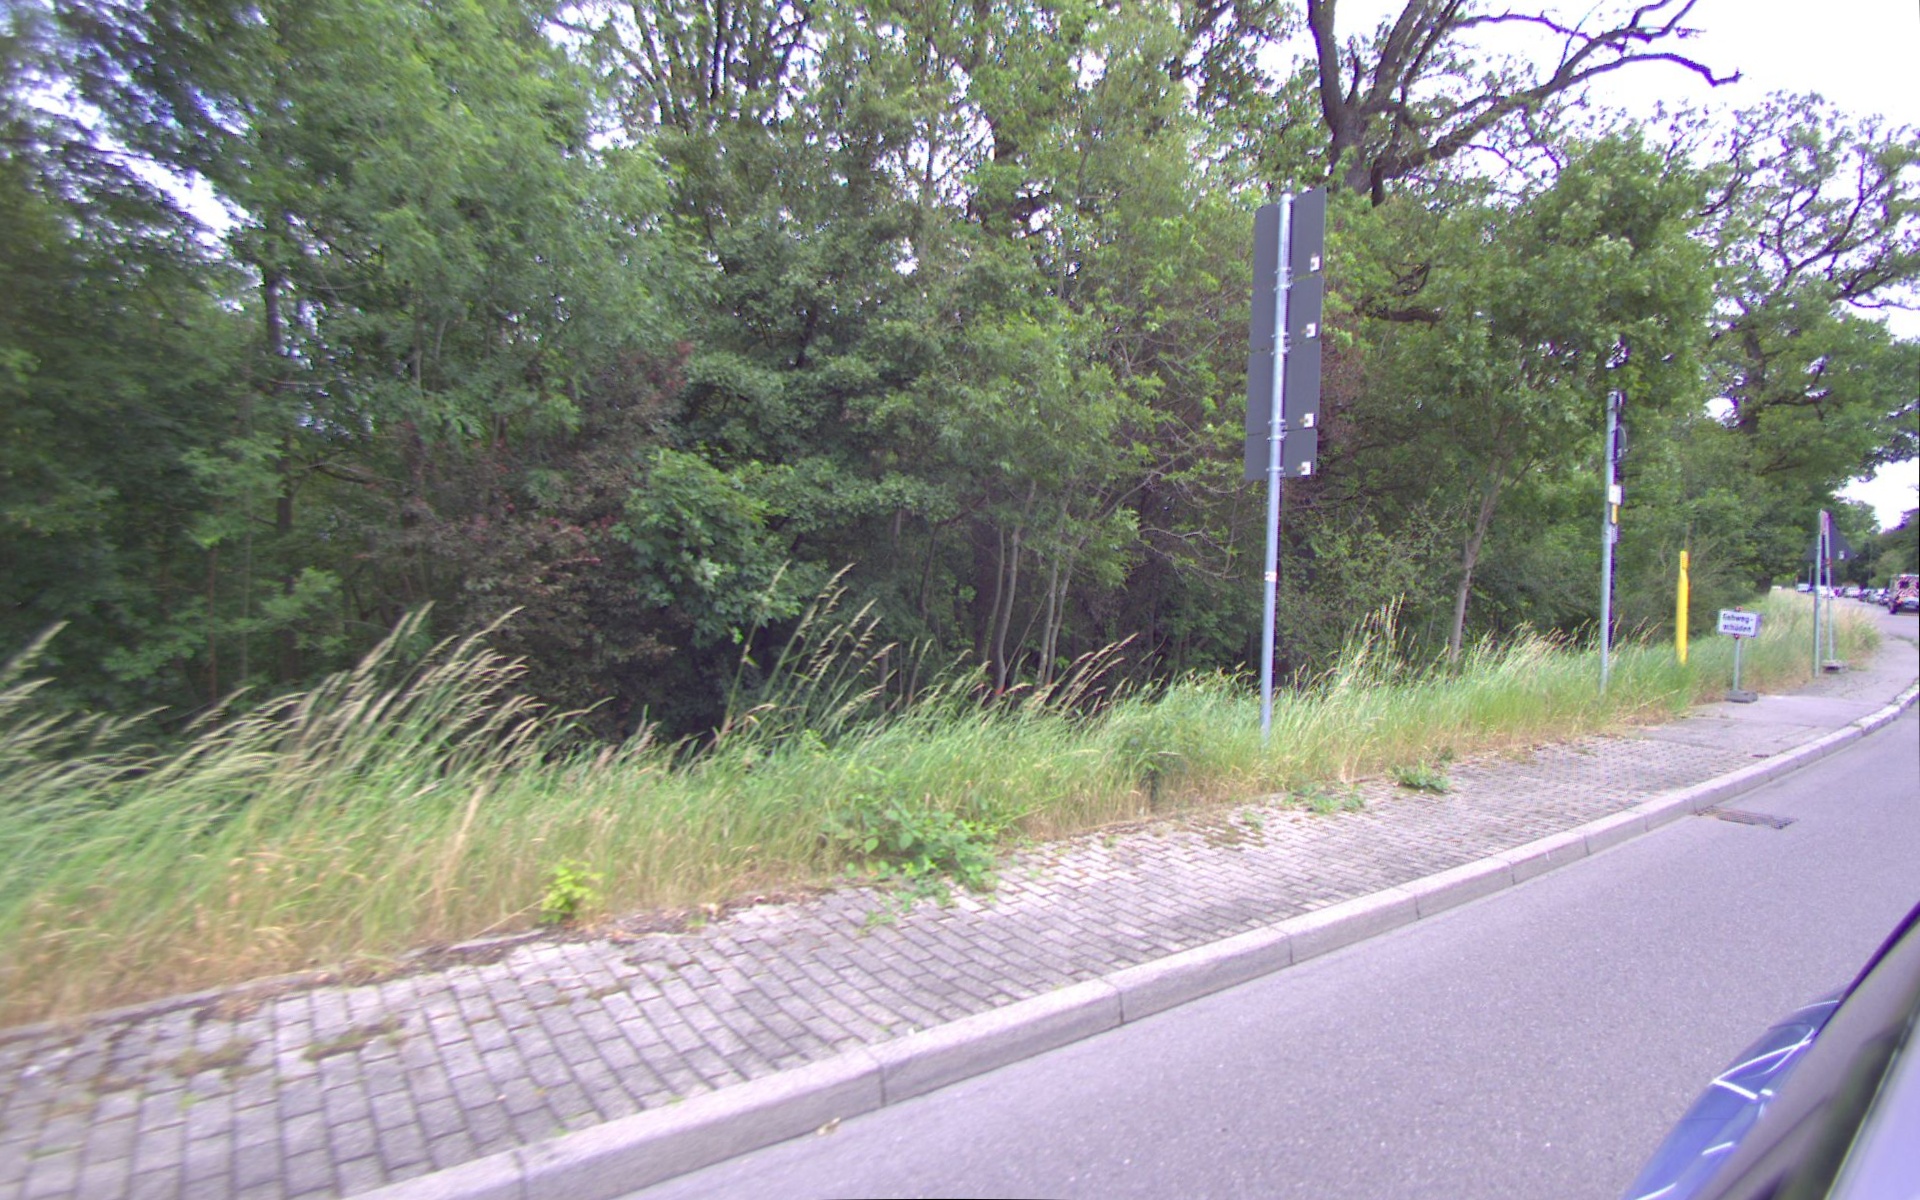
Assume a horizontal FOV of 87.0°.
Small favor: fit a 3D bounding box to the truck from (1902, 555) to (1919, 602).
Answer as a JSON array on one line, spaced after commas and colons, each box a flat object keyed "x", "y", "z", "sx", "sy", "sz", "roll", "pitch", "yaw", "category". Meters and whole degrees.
[{"x": 78.201, "y": -1.734, "z": 81.571, "sx": 2.997, "sy": 3.684, "sz": 6.984, "roll": 2, "pitch": 2, "yaw": 41, "category": "truck"}]
